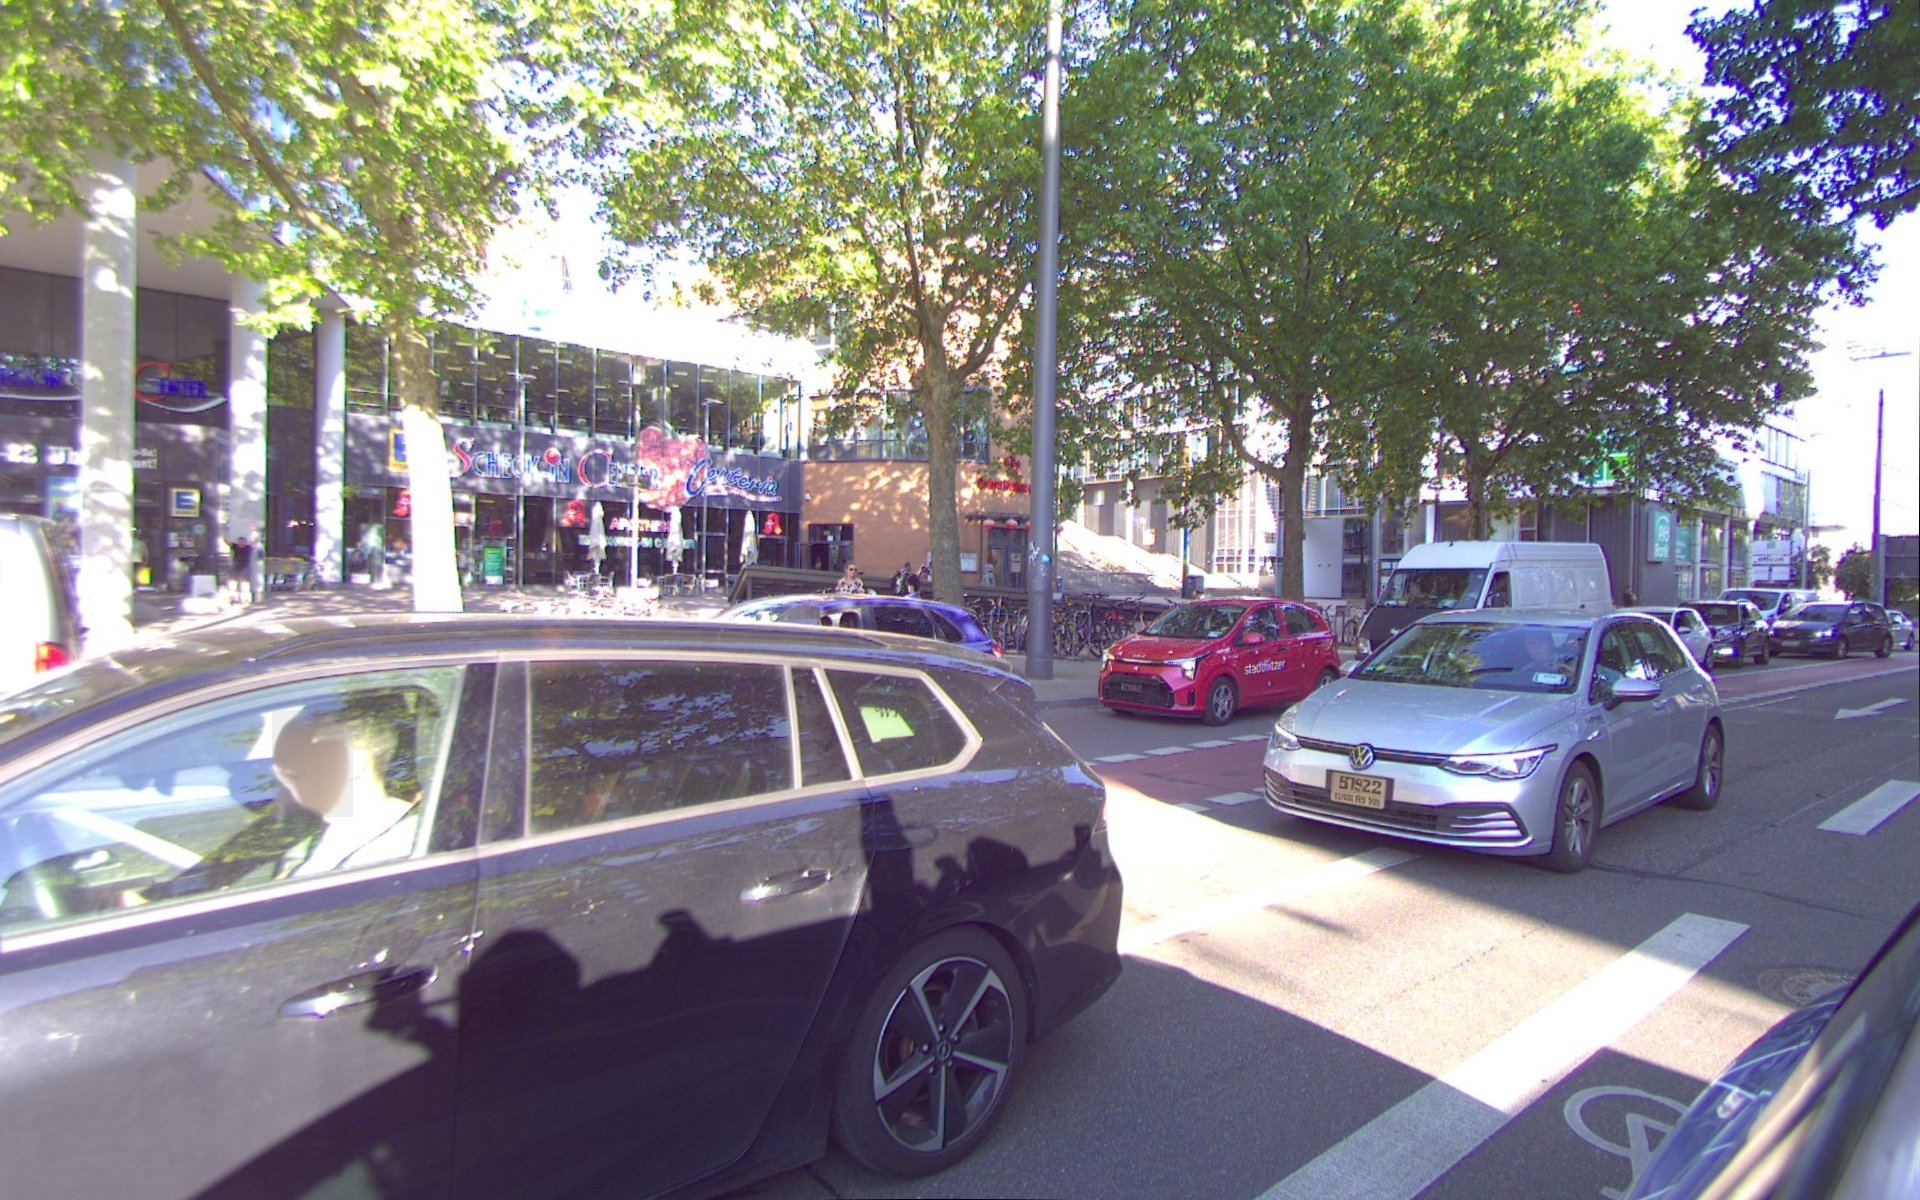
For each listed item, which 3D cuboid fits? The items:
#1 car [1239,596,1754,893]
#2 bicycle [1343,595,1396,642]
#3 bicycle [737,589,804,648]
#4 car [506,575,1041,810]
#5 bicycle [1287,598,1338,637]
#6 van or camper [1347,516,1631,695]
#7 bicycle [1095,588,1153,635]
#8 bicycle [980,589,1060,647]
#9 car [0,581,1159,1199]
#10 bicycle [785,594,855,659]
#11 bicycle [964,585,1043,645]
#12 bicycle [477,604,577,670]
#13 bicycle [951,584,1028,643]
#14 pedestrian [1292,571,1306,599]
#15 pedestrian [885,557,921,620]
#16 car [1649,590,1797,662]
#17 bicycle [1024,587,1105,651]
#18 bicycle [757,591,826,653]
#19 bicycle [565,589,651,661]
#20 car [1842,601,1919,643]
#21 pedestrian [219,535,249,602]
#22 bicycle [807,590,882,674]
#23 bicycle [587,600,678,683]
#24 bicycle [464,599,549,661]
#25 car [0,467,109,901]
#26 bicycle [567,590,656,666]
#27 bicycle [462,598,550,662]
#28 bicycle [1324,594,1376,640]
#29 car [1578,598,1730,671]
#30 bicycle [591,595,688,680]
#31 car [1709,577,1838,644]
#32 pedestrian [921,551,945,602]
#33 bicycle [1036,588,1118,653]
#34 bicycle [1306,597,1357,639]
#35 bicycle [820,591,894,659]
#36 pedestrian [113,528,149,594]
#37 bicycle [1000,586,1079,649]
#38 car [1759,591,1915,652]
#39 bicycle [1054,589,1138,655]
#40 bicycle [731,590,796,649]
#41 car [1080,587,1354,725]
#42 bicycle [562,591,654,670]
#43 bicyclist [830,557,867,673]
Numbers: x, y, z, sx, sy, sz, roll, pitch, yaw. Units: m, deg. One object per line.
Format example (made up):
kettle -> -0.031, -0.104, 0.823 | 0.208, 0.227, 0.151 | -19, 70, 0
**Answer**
car -> 3.802, 0.707, 6.902 | 3.928, 1.458, 1.733 | 0, 0, -39
bicycle -> 11.034, 0.479, 27.239 | 1.818, 1.209, 0.521 | 0, 2, -41
bicycle -> -3.641, 0.344, 19.511 | 1.202, 1.110, 0.444 | 0, 1, -40
car -> -1.404, 0.586, 8.627 | 4.177, 1.503, 1.742 | 0, 2, -41
bicycle -> 9.928, 0.475, 28.460 | 1.818, 1.046, 0.515 | 0, 2, -41
van or camper -> 9.378, 0.069, 17.606 | 6.456, 2.611, 1.998 | 0, 0, -39
bicycle -> 4.401, 0.307, 27.062 | 1.759, 1.209, 0.517 | 0, 2, -41
bicycle -> 1.258, 0.353, 20.974 | 1.818, 1.139, 0.484 | 0, 2, -41
car -> -1.536, 0.683, 2.373 | 4.196, 1.432, 1.742 | 0, 0, -41
bicycle -> -2.485, 0.454, 17.998 | 1.202, 1.110, 0.400 | 0, 1, -40
bicycle -> 0.937, 0.298, 21.354 | 1.818, 1.209, 0.458 | 0, 1, -41
bicycle -> -6.236, 0.519, 14.601 | 1.231, 0.898, 0.462 | 0, 1, -40
bicycle -> 0.639, 0.272, 21.707 | 1.818, 1.209, 0.434 | 0, 1, -41
pedestrian -> 19.616, -0.869, 58.578 | 0.707, 1.578, 0.638 | 1, 1, 14
pedestrian -> -1.668, -0.338, 29.472 | 0.868, 1.805, 0.604 | 1, 1, -18
car -> 19.010, 0.593, 25.165 | 4.148, 1.640, 1.819 | 0, 1, -36
bicycle -> 2.112, 0.363, 20.265 | 1.818, 1.209, 0.484 | 0, 1, -41
bicycle -> -3.122, 0.389, 18.832 | 1.202, 1.110, 0.427 | 0, 1, -40
bicycle -> -5.704, 0.390, 16.438 | 0.414, 1.110, 1.269 | 2, 1, 41
car -> 33.521, 0.752, 36.526 | 3.927, 1.394, 1.802 | 0, 2, -38
pedestrian -> -18.826, -0.806, 26.254 | 0.506, 1.707, 0.604 | 1, 1, -23
bicycle -> -1.792, 0.482, 15.801 | 1.126, 1.271, 0.379 | 0, 1, -41
bicycle -> -4.578, 0.565, 14.186 | 1.202, 1.110, 0.269 | 0, 1, -40
bicycle -> -7.119, 0.463, 15.926 | 1.198, 0.938, 0.465 | 1, 1, -22
car -> -6.648, 0.360, 4.000 | 5.008, 2.004, 1.940 | 0, 2, -41
bicycle -> -5.357, 0.407, 15.593 | 0.372, 1.110, 1.269 | 2, 1, 41
bicycle -> -6.956, 0.454, 15.548 | 1.198, 0.930, 0.442 | 1, 1, -22
bicycle -> 10.667, 0.449, 27.637 | 1.818, 1.209, 0.495 | 0, 2, -41
car -> 15.308, 0.687, 22.258 | 3.927, 1.446, 1.683 | 0, 1, -38
bicycle -> -4.400, 0.495, 13.920 | 1.202, 1.110, 0.413 | 0, 1, -40
car -> 26.435, 0.306, 32.840 | 4.863, 2.020, 1.968 | 0, 1, -35
pedestrian -> -1.114, -0.976, 41.720 | 0.575, 2.062, 0.876 | 1, 1, -35
bicycle -> 2.300, 0.389, 19.756 | 1.818, 1.209, 0.448 | 0, 1, -41
bicycle -> 10.311, 0.488, 28.050 | 1.766, 1.108, 0.522 | 0, 2, -41
bicycle -> -1.743, 0.403, 17.144 | 1.202, 1.110, 0.420 | 0, 1, -40
pedestrian -> -22.305, -1.049, 27.238 | 0.706, 1.728, 0.805 | 0, 1, -42
bicycle -> 1.631, 0.340, 20.526 | 1.818, 1.209, 0.447 | 0, 1, -41
car -> 25.242, 0.583, 29.123 | 4.242, 1.640, 1.970 | 0, 1, -28
bicycle -> 2.623, 0.400, 19.370 | 1.818, 1.209, 0.481 | 0, 1, -41
bicycle -> -3.886, 0.373, 20.054 | 1.202, 1.110, 0.429 | 0, 1, -40
car -> 3.335, 0.601, 12.826 | 3.588, 1.476, 1.605 | 0, 1, -41
bicycle -> -5.155, 0.425, 14.845 | 1.202, 1.110, 0.396 | 0, 1, -40
bicyclist -> -1.740, 0.226, 15.756 | 0.392, 1.782, 0.390 | 0, 1, -41
